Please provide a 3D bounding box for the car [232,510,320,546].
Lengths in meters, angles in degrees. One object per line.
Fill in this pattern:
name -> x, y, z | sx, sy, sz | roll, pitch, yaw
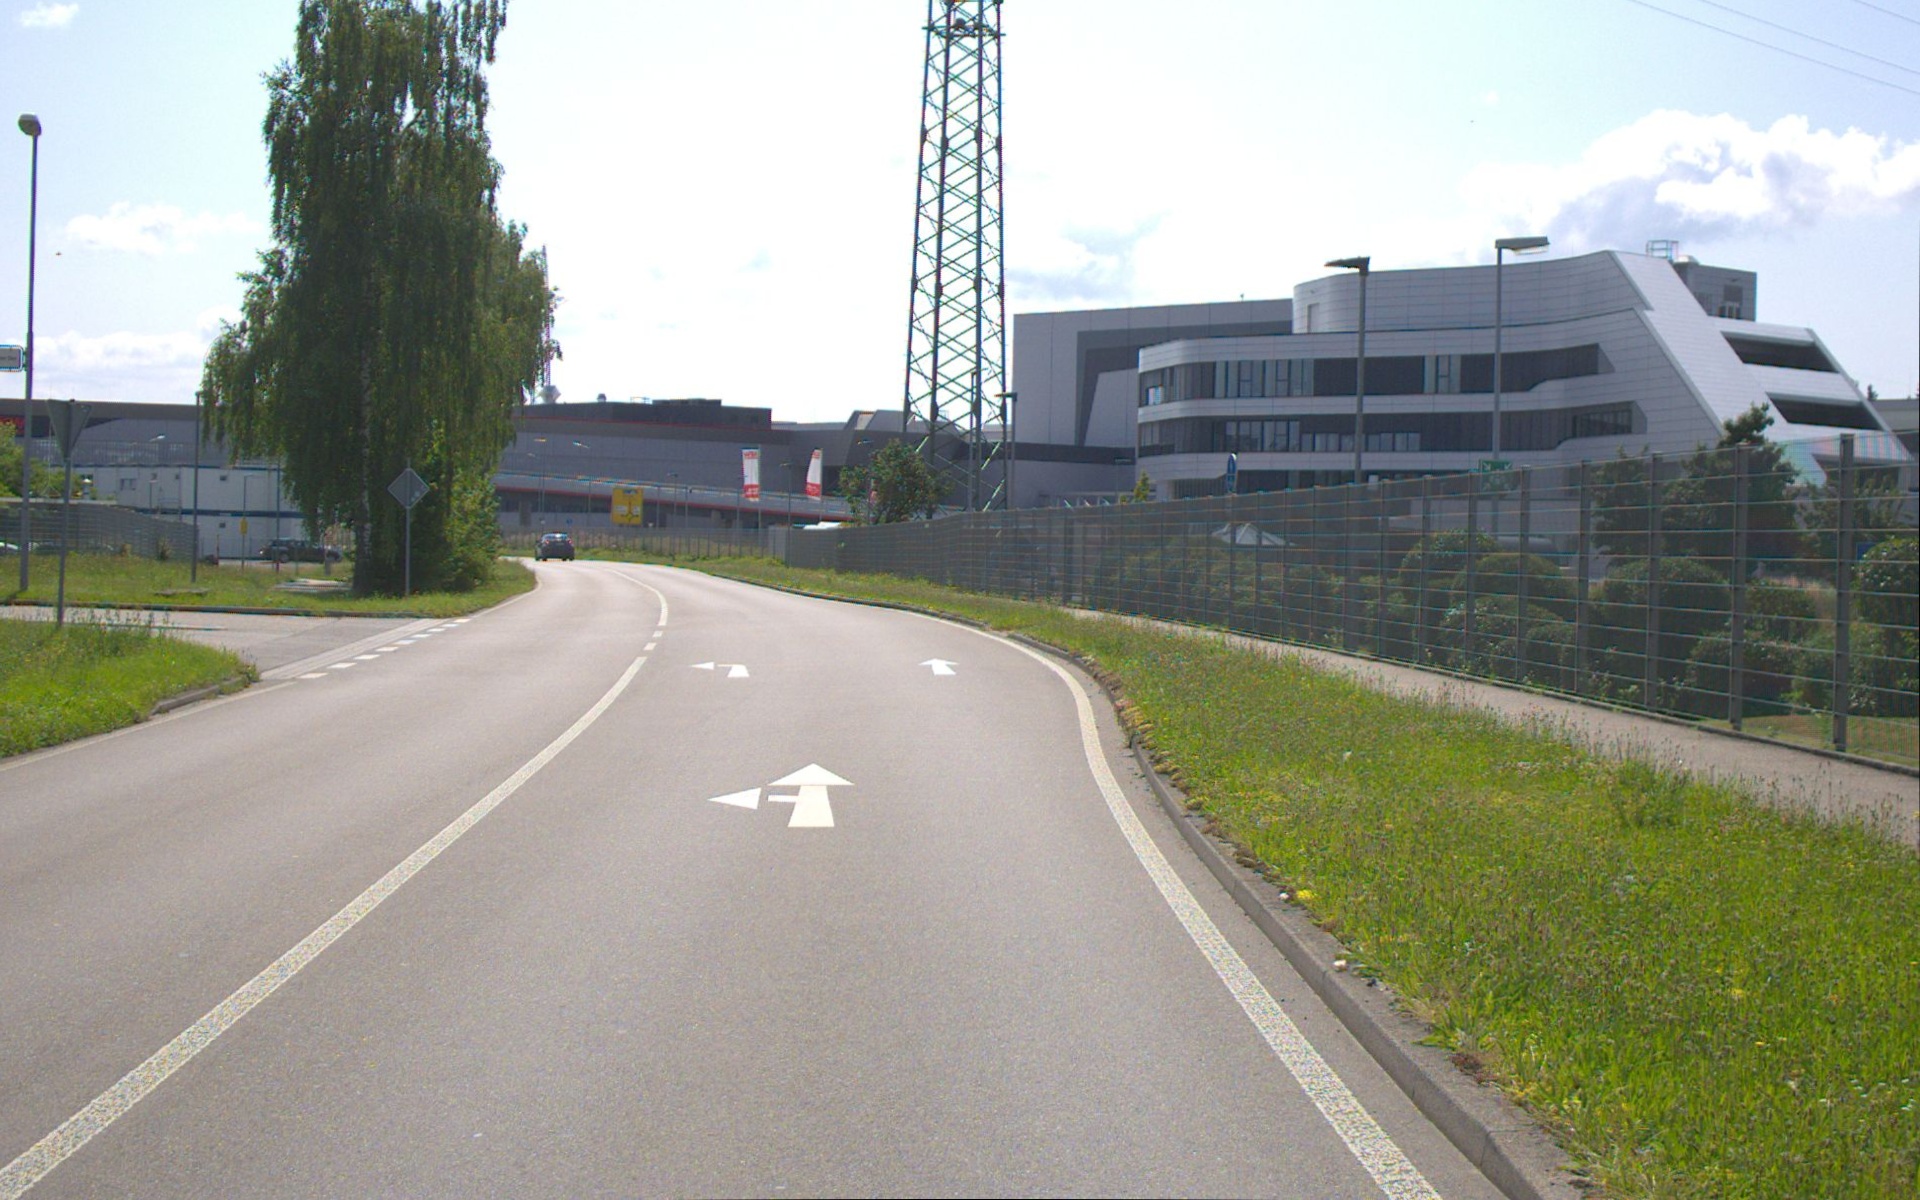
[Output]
car -> -32.721, -3.461, 164.487 | 3.986, 1.568, 2.001 | 2, 1, -7

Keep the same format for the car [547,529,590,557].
car -> -22.429, -3.255, 197.190 | 2.012, 1.503, 4.000 | 2, 1, -1
